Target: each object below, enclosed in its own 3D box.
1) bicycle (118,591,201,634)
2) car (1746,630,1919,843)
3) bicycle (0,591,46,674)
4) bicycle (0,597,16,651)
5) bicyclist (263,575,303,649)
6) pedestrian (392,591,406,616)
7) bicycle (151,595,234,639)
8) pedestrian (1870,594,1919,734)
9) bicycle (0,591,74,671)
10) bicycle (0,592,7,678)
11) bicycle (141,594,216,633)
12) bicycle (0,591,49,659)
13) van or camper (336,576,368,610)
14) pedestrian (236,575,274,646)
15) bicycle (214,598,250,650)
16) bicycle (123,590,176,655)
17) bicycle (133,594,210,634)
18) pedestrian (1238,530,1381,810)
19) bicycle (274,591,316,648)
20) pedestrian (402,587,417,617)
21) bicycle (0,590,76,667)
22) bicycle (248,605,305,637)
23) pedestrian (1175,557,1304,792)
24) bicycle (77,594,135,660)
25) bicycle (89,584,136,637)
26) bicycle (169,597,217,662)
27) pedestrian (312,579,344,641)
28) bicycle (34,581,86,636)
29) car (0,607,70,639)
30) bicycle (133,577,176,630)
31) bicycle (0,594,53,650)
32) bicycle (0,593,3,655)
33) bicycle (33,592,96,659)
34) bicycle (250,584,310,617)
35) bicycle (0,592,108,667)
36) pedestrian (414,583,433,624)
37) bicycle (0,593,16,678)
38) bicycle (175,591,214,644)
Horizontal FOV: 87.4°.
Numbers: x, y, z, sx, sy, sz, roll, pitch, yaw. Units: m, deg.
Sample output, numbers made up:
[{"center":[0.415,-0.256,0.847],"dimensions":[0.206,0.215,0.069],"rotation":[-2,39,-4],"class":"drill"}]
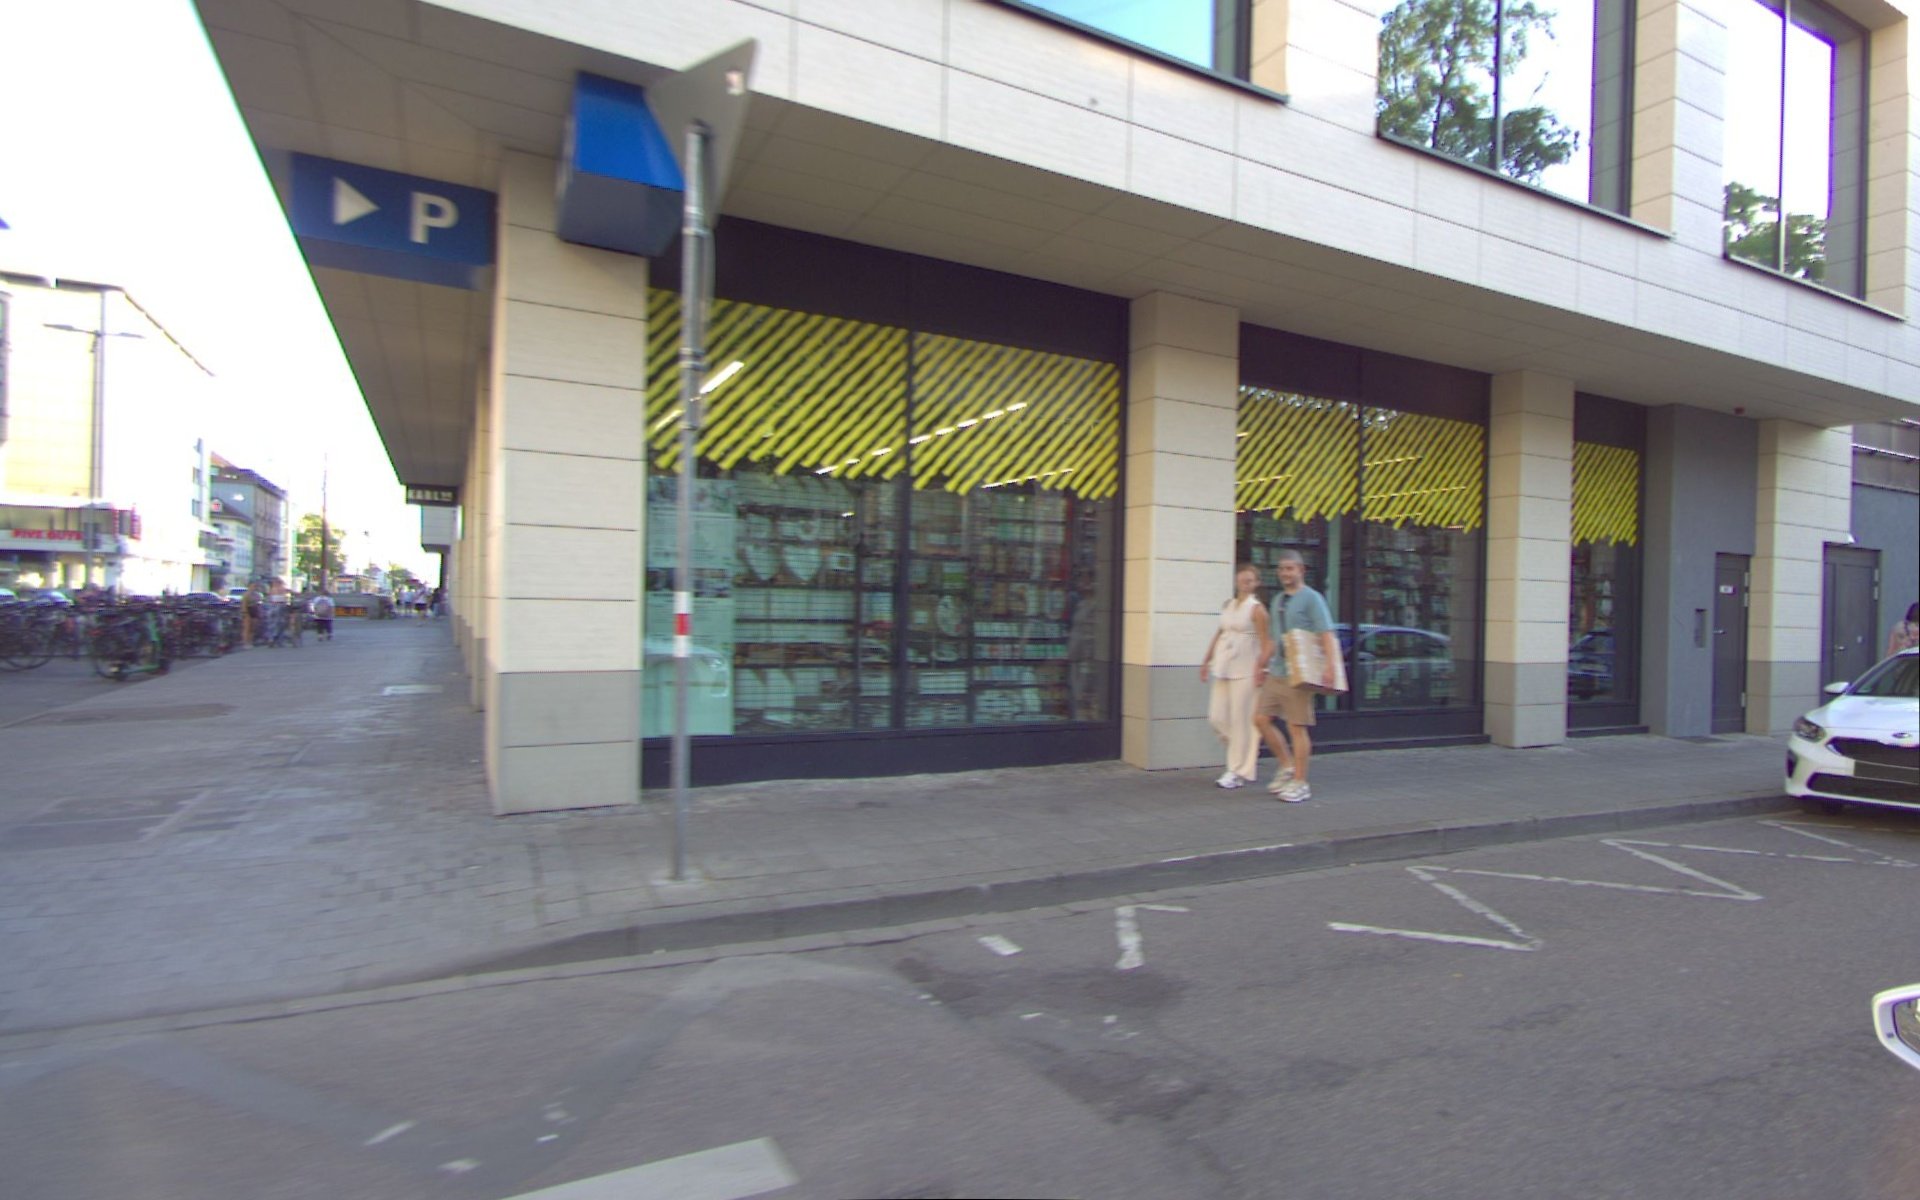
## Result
[{"center":[-25.024,0.395,31.445],"dimensions":[1.960,1.271,0.508],"rotation":[2,0,-37],"class":"bicycle"},{"center":[8.520,1.026,8.259],"dimensions":[4.180,1.472,1.769],"rotation":[2,0,-29],"class":"car"},{"center":[-15.543,0.484,15.551],"dimensions":[1.955,1.271,0.509],"rotation":[2,0,-30],"class":"bicycle"},{"center":[-22.818,0.567,23.554],"dimensions":[0.507,1.271,1.963],"rotation":[2,0,-30],"class":"bicycle"},{"center":[-16.058,0.291,23.841],"dimensions":[0.676,1.718,0.640],"rotation":[1,0,-27],"class":"bicyclist"},{"center":[-33.411,0.199,59.820],"dimensions":[0.676,1.444,0.639],"rotation":[1,0,-29],"class":"pedestrian"},{"center":[-23.666,0.534,31.011],"dimensions":[1.955,1.271,0.509],"rotation":[2,0,-30],"class":"bicycle"},{"center":[12.364,0.813,13.007],"dimensions":[0.639,1.768,0.669],"rotation":[1,0,-27],"class":"pedestrian"},{"center":[-15.776,0.494,16.322],"dimensions":[1.955,1.271,0.509],"rotation":[2,0,-30],"class":"bicycle"},{"center":[-14.885,0.484,14.184],"dimensions":[1.955,1.271,0.509],"rotation":[2,0,-30],"class":"bicycle"},{"center":[-26.676,0.458,34.313],"dimensions":[1.960,1.271,0.508],"rotation":[2,0,-37],"class":"bicycle"},{"center":[-18.548,0.465,19.741],"dimensions":[0.507,1.271,1.963],"rotation":[2,0,-30],"class":"bicycle"},{"center":[-63.371,-0.715,104.725],"dimensions":[1.971,3.317,5.136],"rotation":[1,0,-22],"class":"van or camper"},{"center":[-17.303,0.255,24.662],"dimensions":[0.676,1.718,0.639],"rotation":[1,0,-29],"class":"pedestrian"},{"center":[-18.834,0.613,26.019],"dimensions":[0.507,1.271,1.963],"rotation":[2,0,-30],"class":"bicycle"},{"center":[-16.739,0.437,20.772],"dimensions":[0.507,1.271,1.963],"rotation":[2,0,-30],"class":"bicycle"},{"center":[-26.336,0.463,33.584],"dimensions":[1.960,1.271,0.508],"rotation":[2,0,-37],"class":"bicycle"},{"center":[2.466,0.469,7.108],"dimensions":[0.640,1.861,0.669],"rotation":[1,0,-30],"class":"pedestrian"},{"center":[-15.749,0.446,23.823],"dimensions":[0.605,1.271,1.964],"rotation":[2,0,-28],"class":"bicycle"},{"center":[-31.054,0.116,56.651],"dimensions":[0.676,1.683,0.639],"rotation":[1,0,-29],"class":"pedestrian"},{"center":[-16.239,0.472,16.883],"dimensions":[1.955,1.271,0.509],"rotation":[2,0,-30],"class":"bicycle"},{"center":[-28.736,0.899,42.240],"dimensions":[1.960,1.271,0.508],"rotation":[2,0,-37],"class":"bicycle"},{"center":[2.135,0.545,7.706],"dimensions":[0.640,1.697,0.669],"rotation":[1,0,-30],"class":"pedestrian"},{"center":[-17.351,0.529,20.448],"dimensions":[0.507,1.271,1.963],"rotation":[2,0,-30],"class":"bicycle"},{"center":[-21.063,0.241,24.984],"dimensions":[0.507,1.271,1.963],"rotation":[2,0,-30],"class":"bicycle"},{"center":[-15.916,0.583,20.879],"dimensions":[0.507,1.271,1.963],"rotation":[2,0,-30],"class":"bicycle"},{"center":[-17.700,0.275,28.142],"dimensions":[0.676,1.718,0.639],"rotation":[1,0,-29],"class":"pedestrian"},{"center":[-21.821,0.192,24.378],"dimensions":[0.507,1.271,1.963],"rotation":[2,0,-30],"class":"bicycle"},{"center":[-44.275,1.082,48.004],"dimensions":[1.842,1.409,3.967],"rotation":[1,-1,-30],"class":"car"},{"center":[-20.254,0.085,25.272],"dimensions":[0.507,1.271,1.963],"rotation":[2,0,-30],"class":"bicycle"},{"center":[-22.355,0.499,24.051],"dimensions":[0.507,1.271,1.963],"rotation":[2,0,-30],"class":"bicycle"},{"center":[-19.189,0.487,19.413],"dimensions":[0.507,1.271,1.963],"rotation":[2,0,-30],"class":"bicycle"},{"center":[-17.888,0.481,20.107],"dimensions":[0.507,1.271,1.963],"rotation":[2,0,-30],"class":"bicycle"},{"center":[-27.783,0.029,41.062],"dimensions":[1.960,1.271,0.508],"rotation":[2,0,-37],"class":"bicycle"},{"center":[-16.329,0.519,17.653],"dimensions":[1.955,1.271,0.509],"rotation":[2,0,-30],"class":"bicycle"},{"center":[-22.575,0.150,42.252],"dimensions":[0.676,1.718,0.639],"rotation":[1,0,-29],"class":"pedestrian"},{"center":[-15.313,0.496,14.795],"dimensions":[1.955,1.271,0.509],"rotation":[2,0,-30],"class":"bicycle"},{"center":[-19.483,0.429,25.595],"dimensions":[0.507,1.271,1.963],"rotation":[2,0,-30],"class":"bicycle"}]
